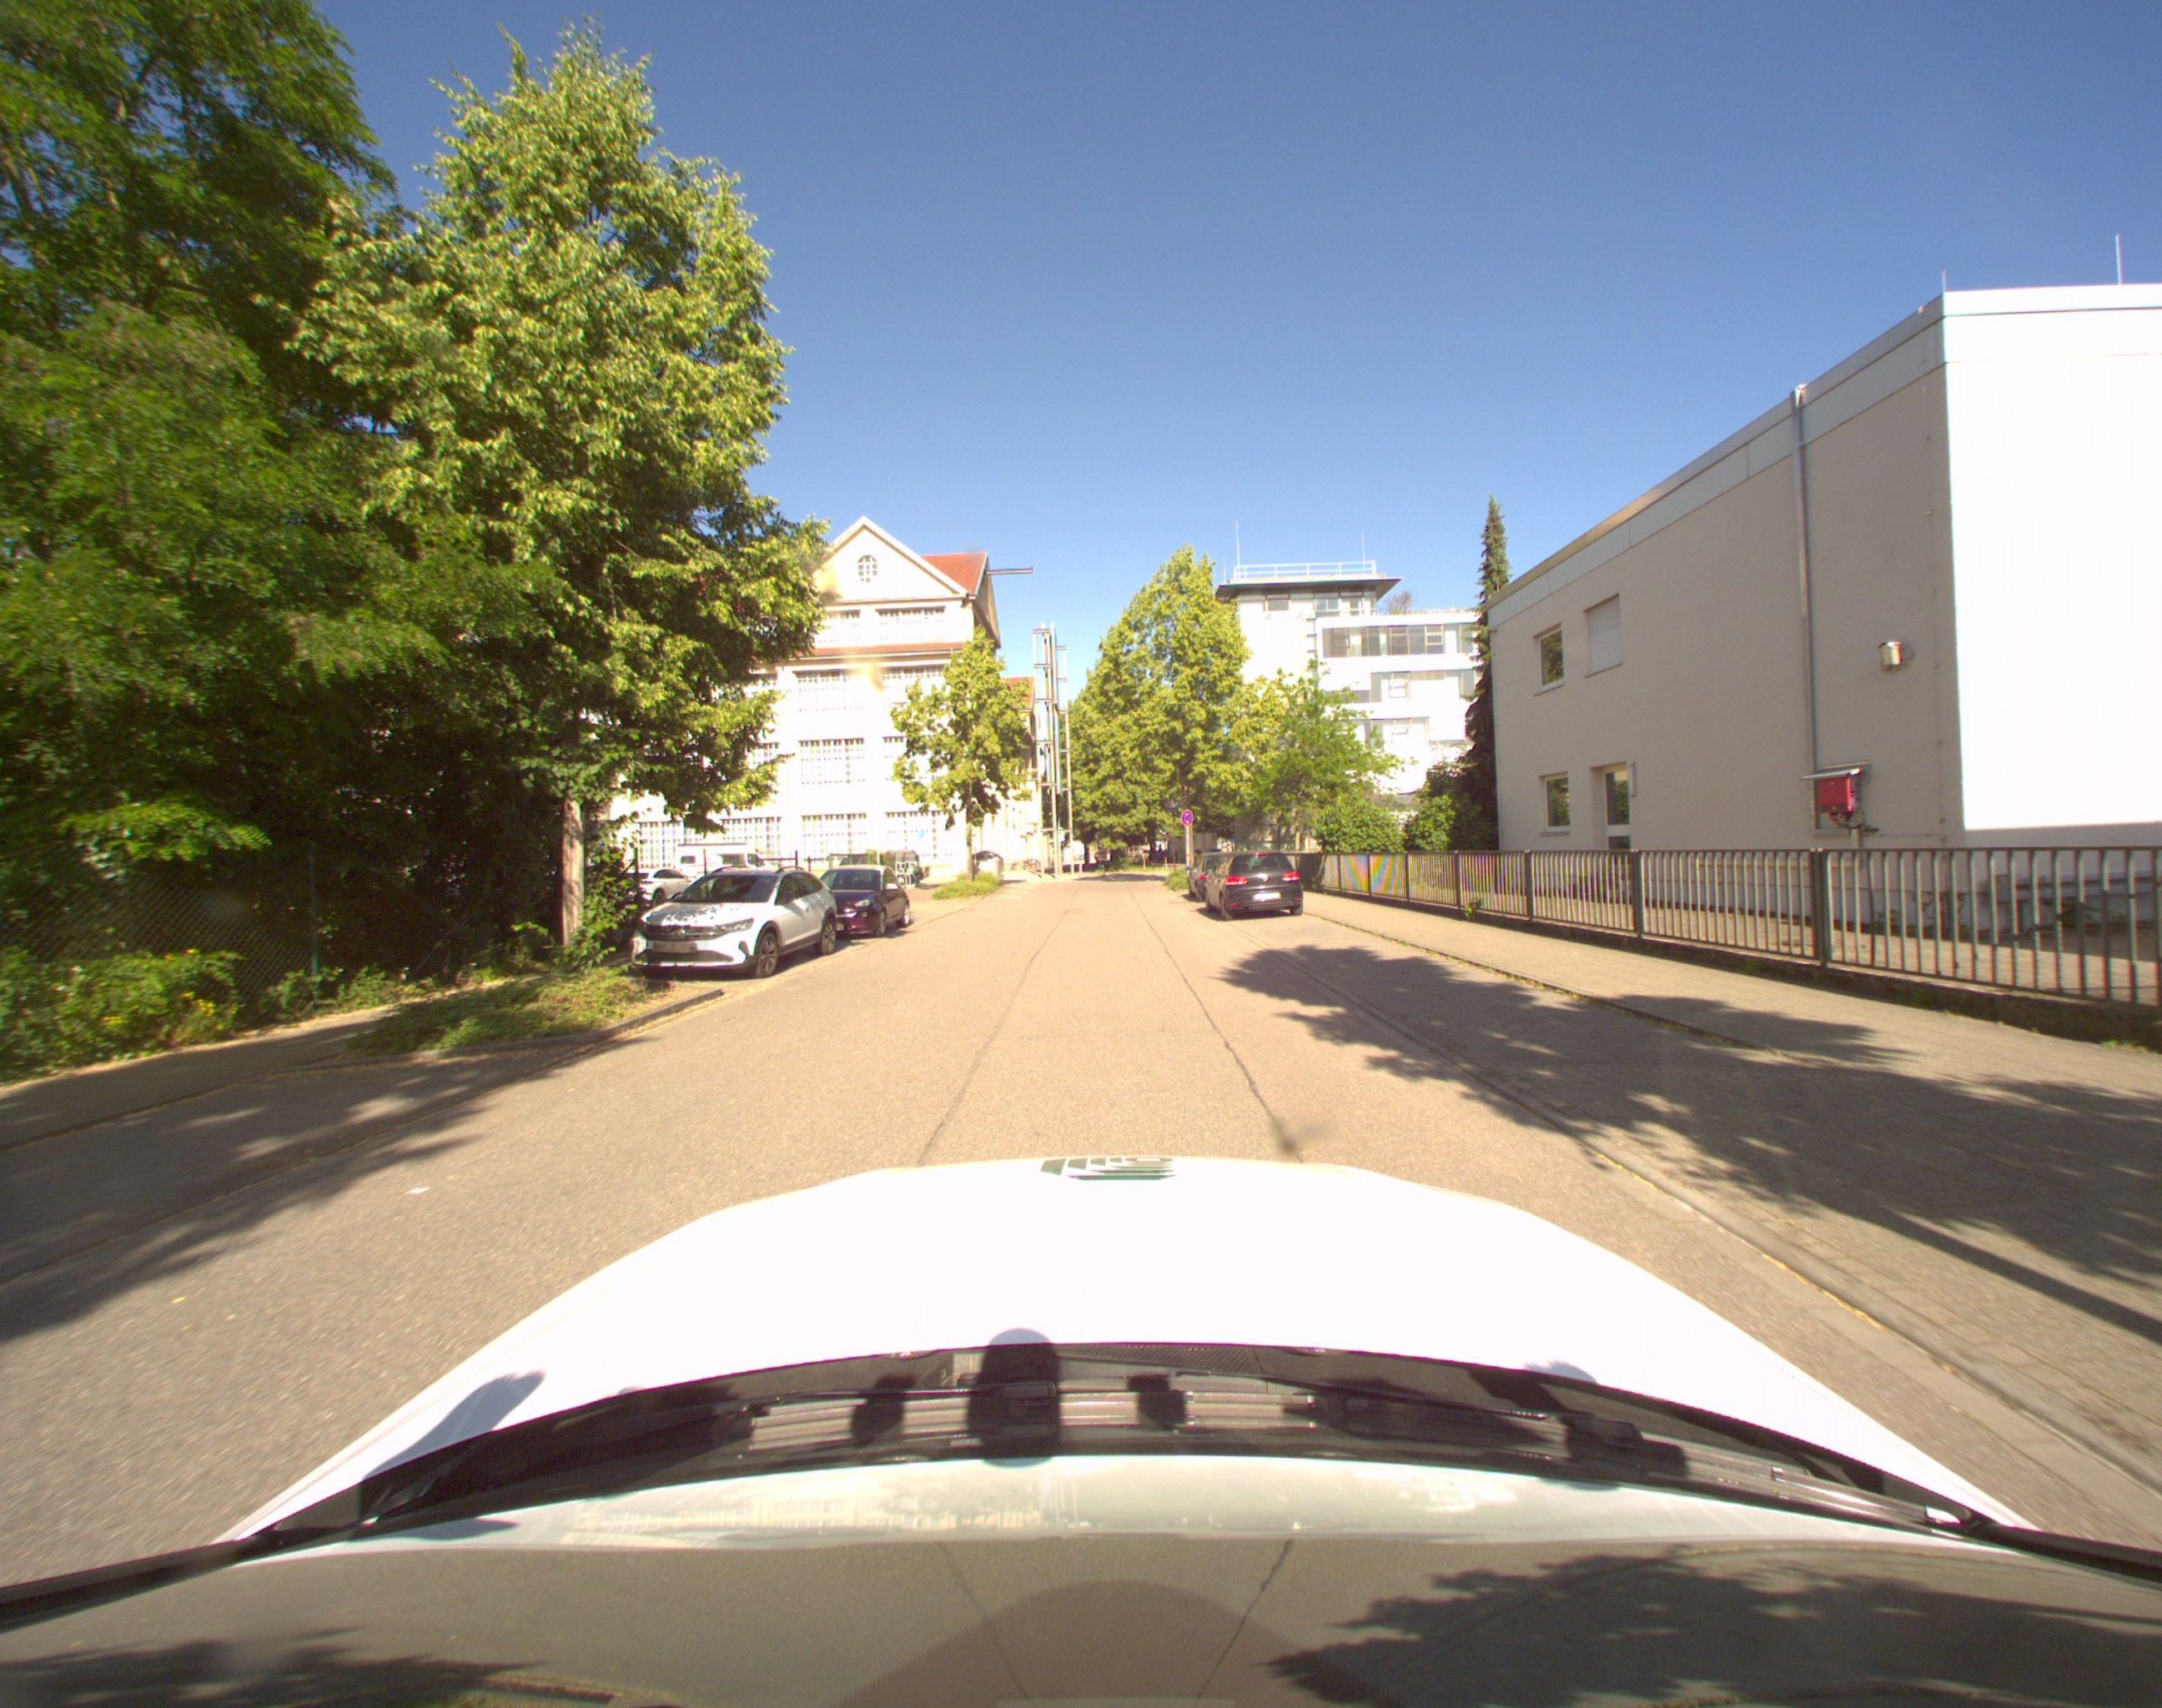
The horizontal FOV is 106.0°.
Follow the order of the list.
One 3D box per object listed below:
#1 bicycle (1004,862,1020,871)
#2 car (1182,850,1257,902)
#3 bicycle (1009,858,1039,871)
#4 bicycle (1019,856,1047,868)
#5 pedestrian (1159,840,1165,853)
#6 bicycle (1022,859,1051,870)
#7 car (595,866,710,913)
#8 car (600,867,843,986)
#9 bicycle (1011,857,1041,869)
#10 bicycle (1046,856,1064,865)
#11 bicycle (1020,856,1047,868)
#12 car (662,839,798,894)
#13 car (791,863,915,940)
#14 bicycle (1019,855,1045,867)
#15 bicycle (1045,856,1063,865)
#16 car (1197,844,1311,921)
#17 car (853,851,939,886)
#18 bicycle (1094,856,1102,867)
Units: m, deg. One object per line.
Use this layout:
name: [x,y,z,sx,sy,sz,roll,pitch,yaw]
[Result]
bicycle: [-6.248,1.133,73.926,0.773,0.792,2.892,-2,0,9]
car: [4.257,0.652,25.571,1.740,1.422,4.426,-2,-1,2]
bicycle: [-5.385,0.996,76.692,2.794,1.063,0.718,-2,0,-3]
bicycle: [-4.911,0.847,83.587,2.794,1.150,0.718,-2,0,-3]
pedestrian: [9.790,-0.887,98.258,0.713,1.550,0.692,-2,0,8]
bicycle: [-4.417,1.037,81.204,2.794,1.063,0.718,-2,0,-3]
car: [-17.126,1.352,32.821,1.984,1.609,4.432,-2,0,4]
car: [-5.188,0.960,12.428,1.833,1.474,4.003,0,0,1]
bicycle: [-5.320,0.860,78.298,2.790,1.063,0.719,-2,0,1]
bicycle: [-3.074,0.753,97.018,2.049,1.066,0.507,-2,0,3]
bicycle: [-4.985,0.816,85.783,2.725,1.150,0.718,-2,0,-3]
car: [-18.837,0.654,43.900,6.241,2.597,2.165,-2,0,0]
car: [-4.847,0.955,17.802,1.712,1.474,3.545,0,0,0]
bicycle: [-5.096,0.768,84.995,2.725,1.150,0.718,-2,0,-3]
bicycle: [-3.199,0.768,96.307,2.049,1.066,0.507,-2,0,3]
car: [3.890,0.580,18.967,1.778,1.516,4.000,-3,0,0]
car: [-10.002,0.782,44.201,4.073,1.695,2.002,-2,-1,3]
bicycle: [1.872,0.818,90.549,0.618,1.197,2.129,-2,0,-3]
